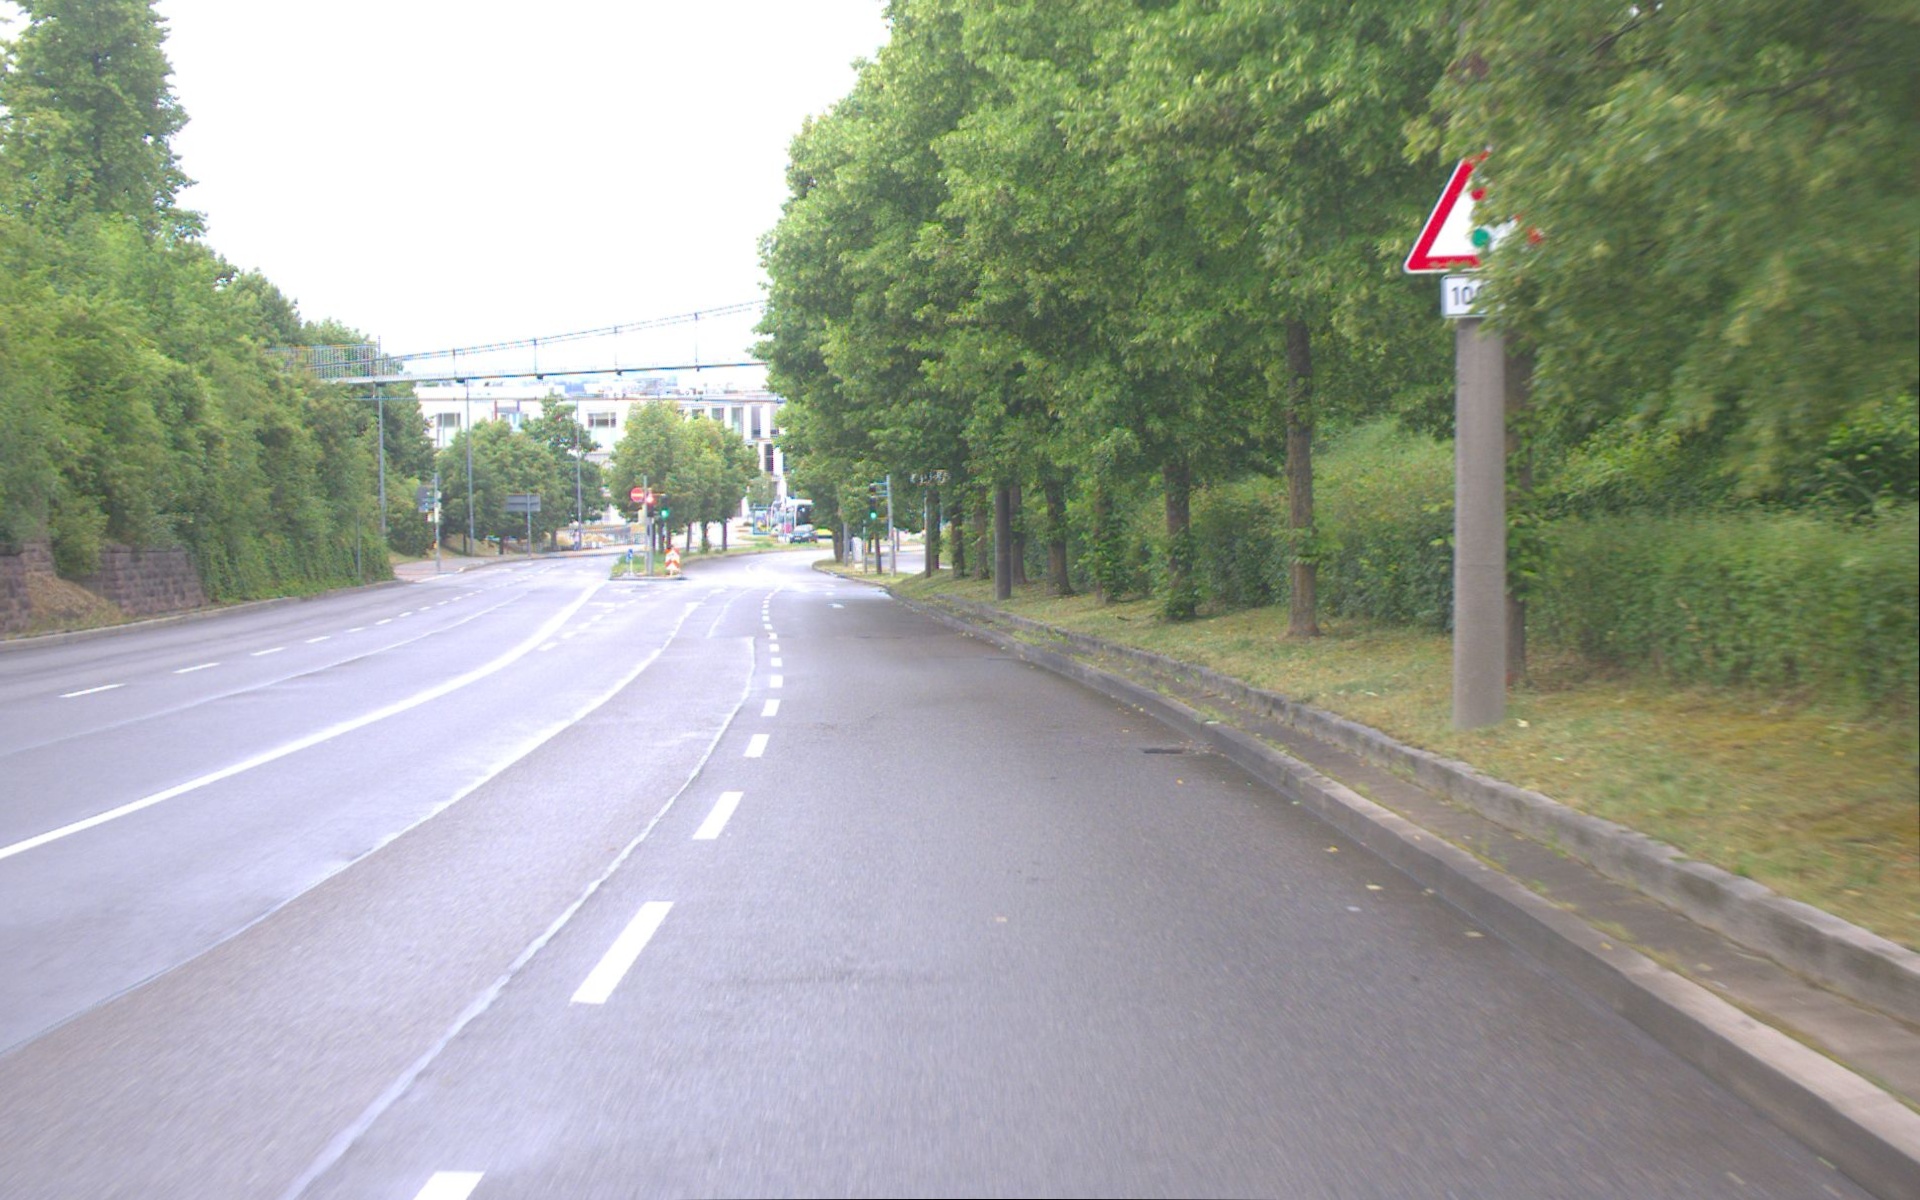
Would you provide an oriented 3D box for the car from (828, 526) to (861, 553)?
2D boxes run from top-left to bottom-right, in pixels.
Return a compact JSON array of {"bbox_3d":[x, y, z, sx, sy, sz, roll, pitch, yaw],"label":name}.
[{"bbox_3d":[-7.771,-4.087,231.404,1.849,1.696,3.792,1,0,3],"label":"car"}]
